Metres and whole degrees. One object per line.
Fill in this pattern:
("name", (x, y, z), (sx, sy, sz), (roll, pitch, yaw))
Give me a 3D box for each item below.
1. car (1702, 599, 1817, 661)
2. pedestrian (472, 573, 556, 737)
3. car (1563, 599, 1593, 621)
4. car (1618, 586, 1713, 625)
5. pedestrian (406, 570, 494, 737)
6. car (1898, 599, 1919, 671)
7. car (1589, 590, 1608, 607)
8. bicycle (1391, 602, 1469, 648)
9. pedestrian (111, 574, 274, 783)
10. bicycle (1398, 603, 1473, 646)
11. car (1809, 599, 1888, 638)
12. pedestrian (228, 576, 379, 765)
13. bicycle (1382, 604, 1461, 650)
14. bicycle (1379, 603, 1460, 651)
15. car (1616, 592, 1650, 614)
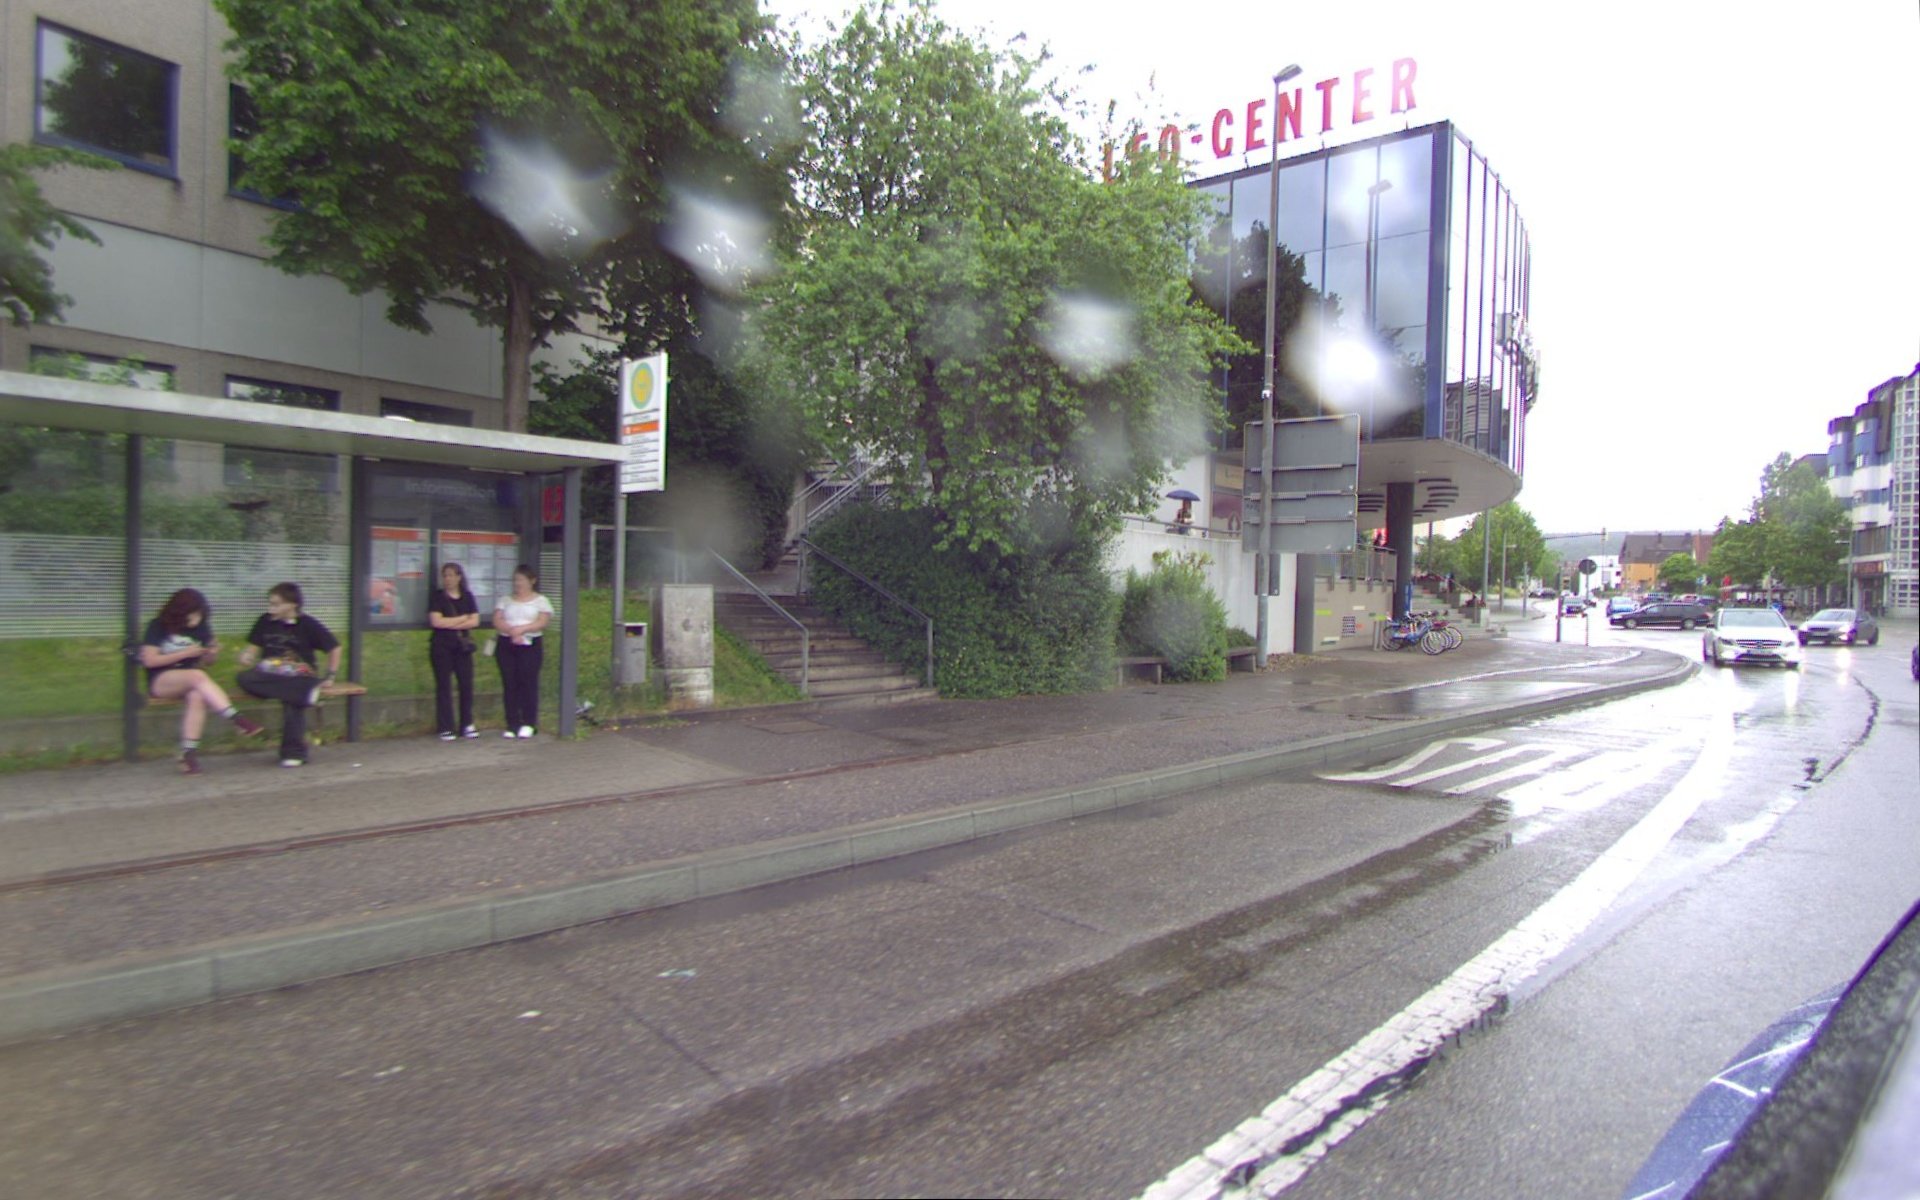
("car", (21.837, 0.775, 27.816), (1.747, 1.569, 4.282), (-2, -1, 29))
("pedestrian", (-3.913, 0.472, 8.904), (0.532, 1.382, 0.412), (3, 2, -5))
("car", (46.986, 0.730, 77.005), (1.887, 1.545, 3.955), (1, 1, 31))
("car", (39.332, 0.288, 56.556), (4.154, 2.039, 1.778), (1, 0, 29))
("pedestrian", (-4.401, 0.452, 8.756), (0.532, 1.382, 0.412), (3, 2, -6))
("car", (21.079, 0.767, 20.677), (1.660, 1.562, 3.878), (1, 0, 25))
("car", (64.186, -0.143, 101.824), (1.572, 1.660, 3.599), (1, 1, 32))
("bicycle", (13.040, 0.683, 28.112), (1.808, 1.124, 0.684), (4, 2, 41))
("pedestrian", (-5.377, 0.497, 7.081), (1.029, 1.297, 0.682), (4, 2, 41))
("bicycle", (13.762, 0.694, 29.305), (1.828, 1.124, 0.684), (4, 3, 41))
("car", (36.378, 0.754, 41.401), (3.767, 1.509, 1.633), (1, 0, -36))
("pedestrian", (-5.045, 0.494, 7.764), (1.029, 1.297, 0.682), (4, 2, 41))
("bicycle", (12.528, 0.707, 27.474), (1.800, 1.098, 0.675), (4, 2, 41))
("bicycle", (12.185, 0.692, 26.878), (1.808, 1.124, 0.684), (4, 2, 41))
("car", (49.274, 0.203, 74.126), (1.887, 1.545, 3.955), (1, 1, 31))
